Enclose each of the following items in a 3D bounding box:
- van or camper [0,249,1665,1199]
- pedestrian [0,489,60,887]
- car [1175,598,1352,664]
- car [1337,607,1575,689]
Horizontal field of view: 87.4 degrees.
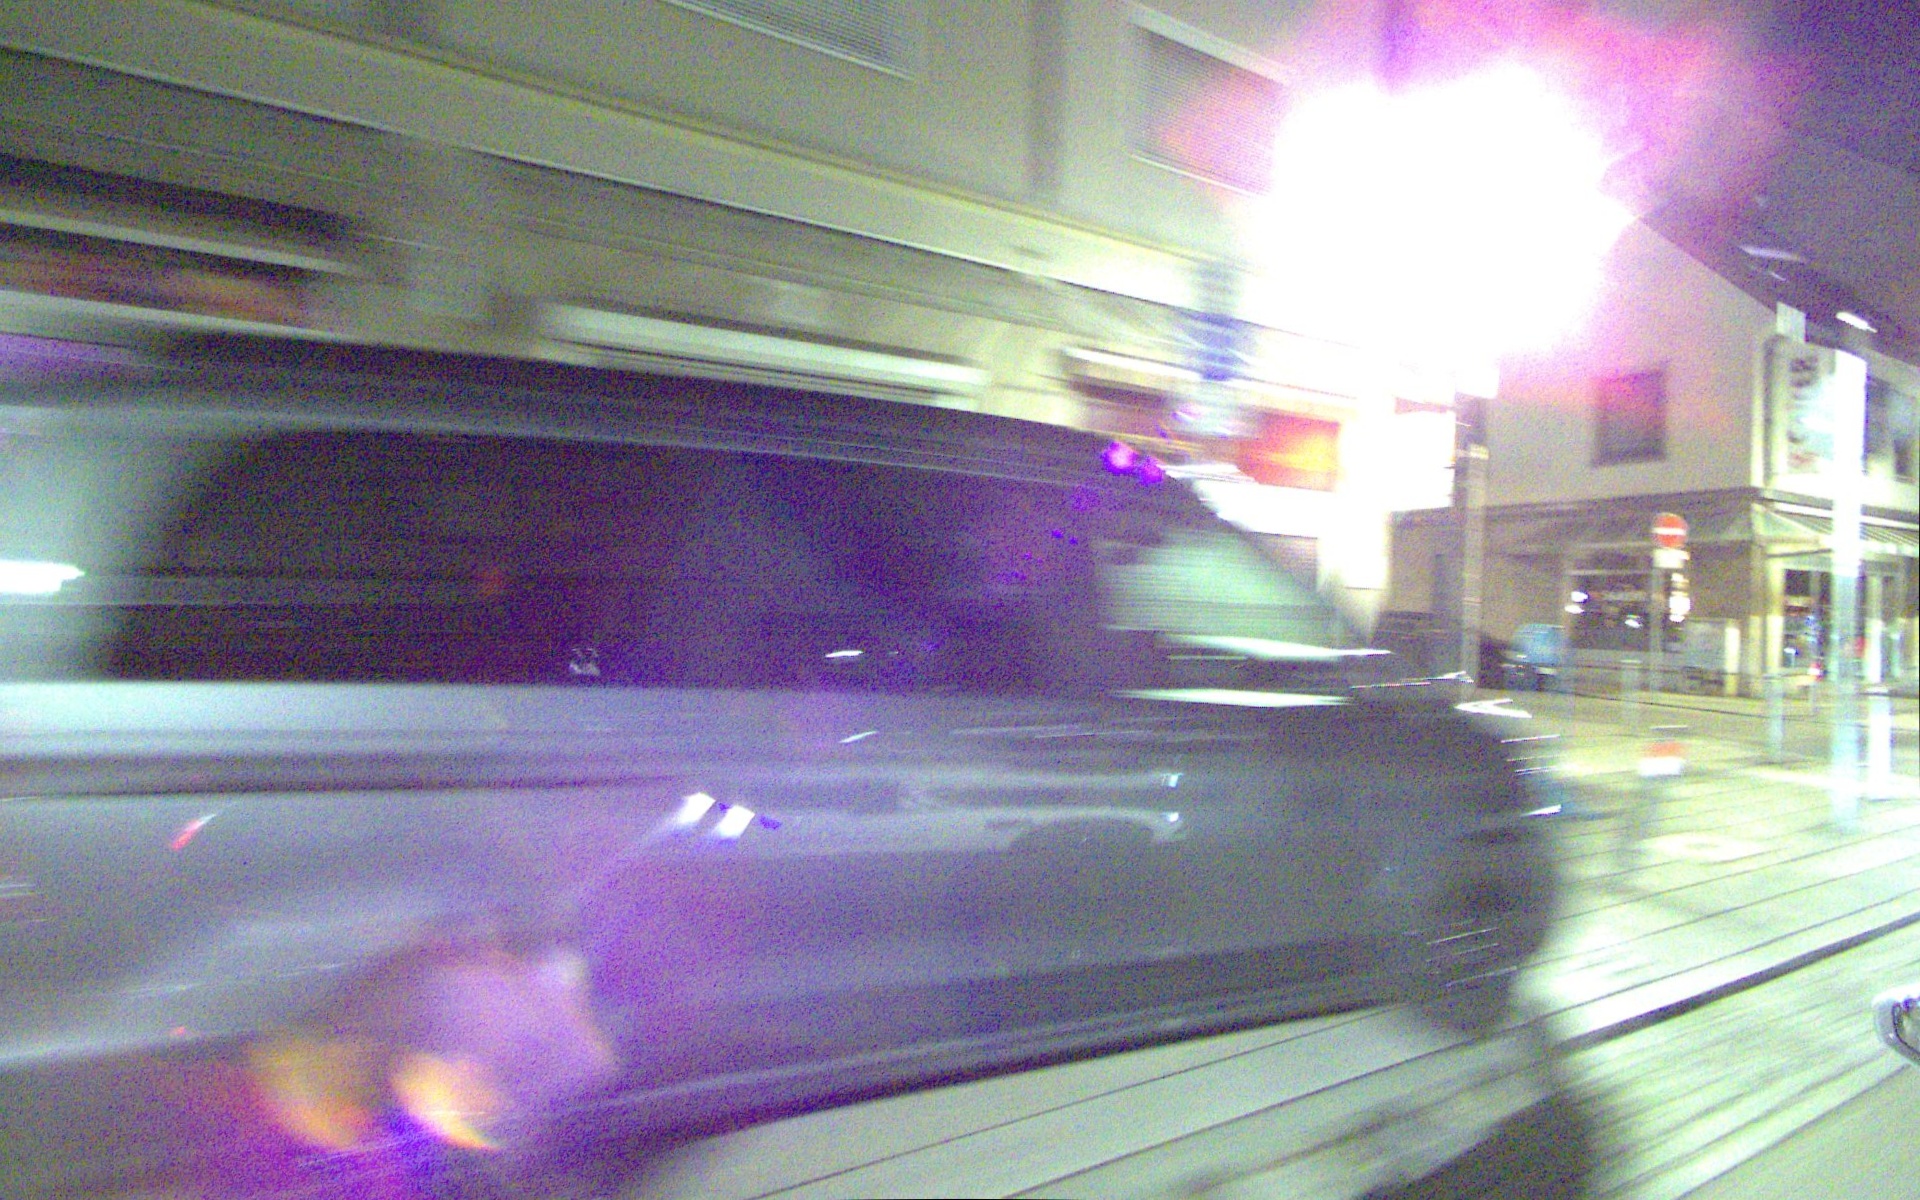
[{"bbox_3d":[-0.156,0.451,3.355,5.085,1.968,1.840,2,0,-26],"label":"van or camper"},{"bbox_3d":[-4.791,0.376,4.484,1.011,1.768,0.618,1,0,-31],"label":"pedestrian"},{"bbox_3d":[7.394,0.725,24.794,1.789,1.410,3.965,3,0,-32],"label":"car"},{"bbox_3d":[9.913,0.918,20.370,1.789,1.394,3.965,3,0,-32],"label":"car"}]
